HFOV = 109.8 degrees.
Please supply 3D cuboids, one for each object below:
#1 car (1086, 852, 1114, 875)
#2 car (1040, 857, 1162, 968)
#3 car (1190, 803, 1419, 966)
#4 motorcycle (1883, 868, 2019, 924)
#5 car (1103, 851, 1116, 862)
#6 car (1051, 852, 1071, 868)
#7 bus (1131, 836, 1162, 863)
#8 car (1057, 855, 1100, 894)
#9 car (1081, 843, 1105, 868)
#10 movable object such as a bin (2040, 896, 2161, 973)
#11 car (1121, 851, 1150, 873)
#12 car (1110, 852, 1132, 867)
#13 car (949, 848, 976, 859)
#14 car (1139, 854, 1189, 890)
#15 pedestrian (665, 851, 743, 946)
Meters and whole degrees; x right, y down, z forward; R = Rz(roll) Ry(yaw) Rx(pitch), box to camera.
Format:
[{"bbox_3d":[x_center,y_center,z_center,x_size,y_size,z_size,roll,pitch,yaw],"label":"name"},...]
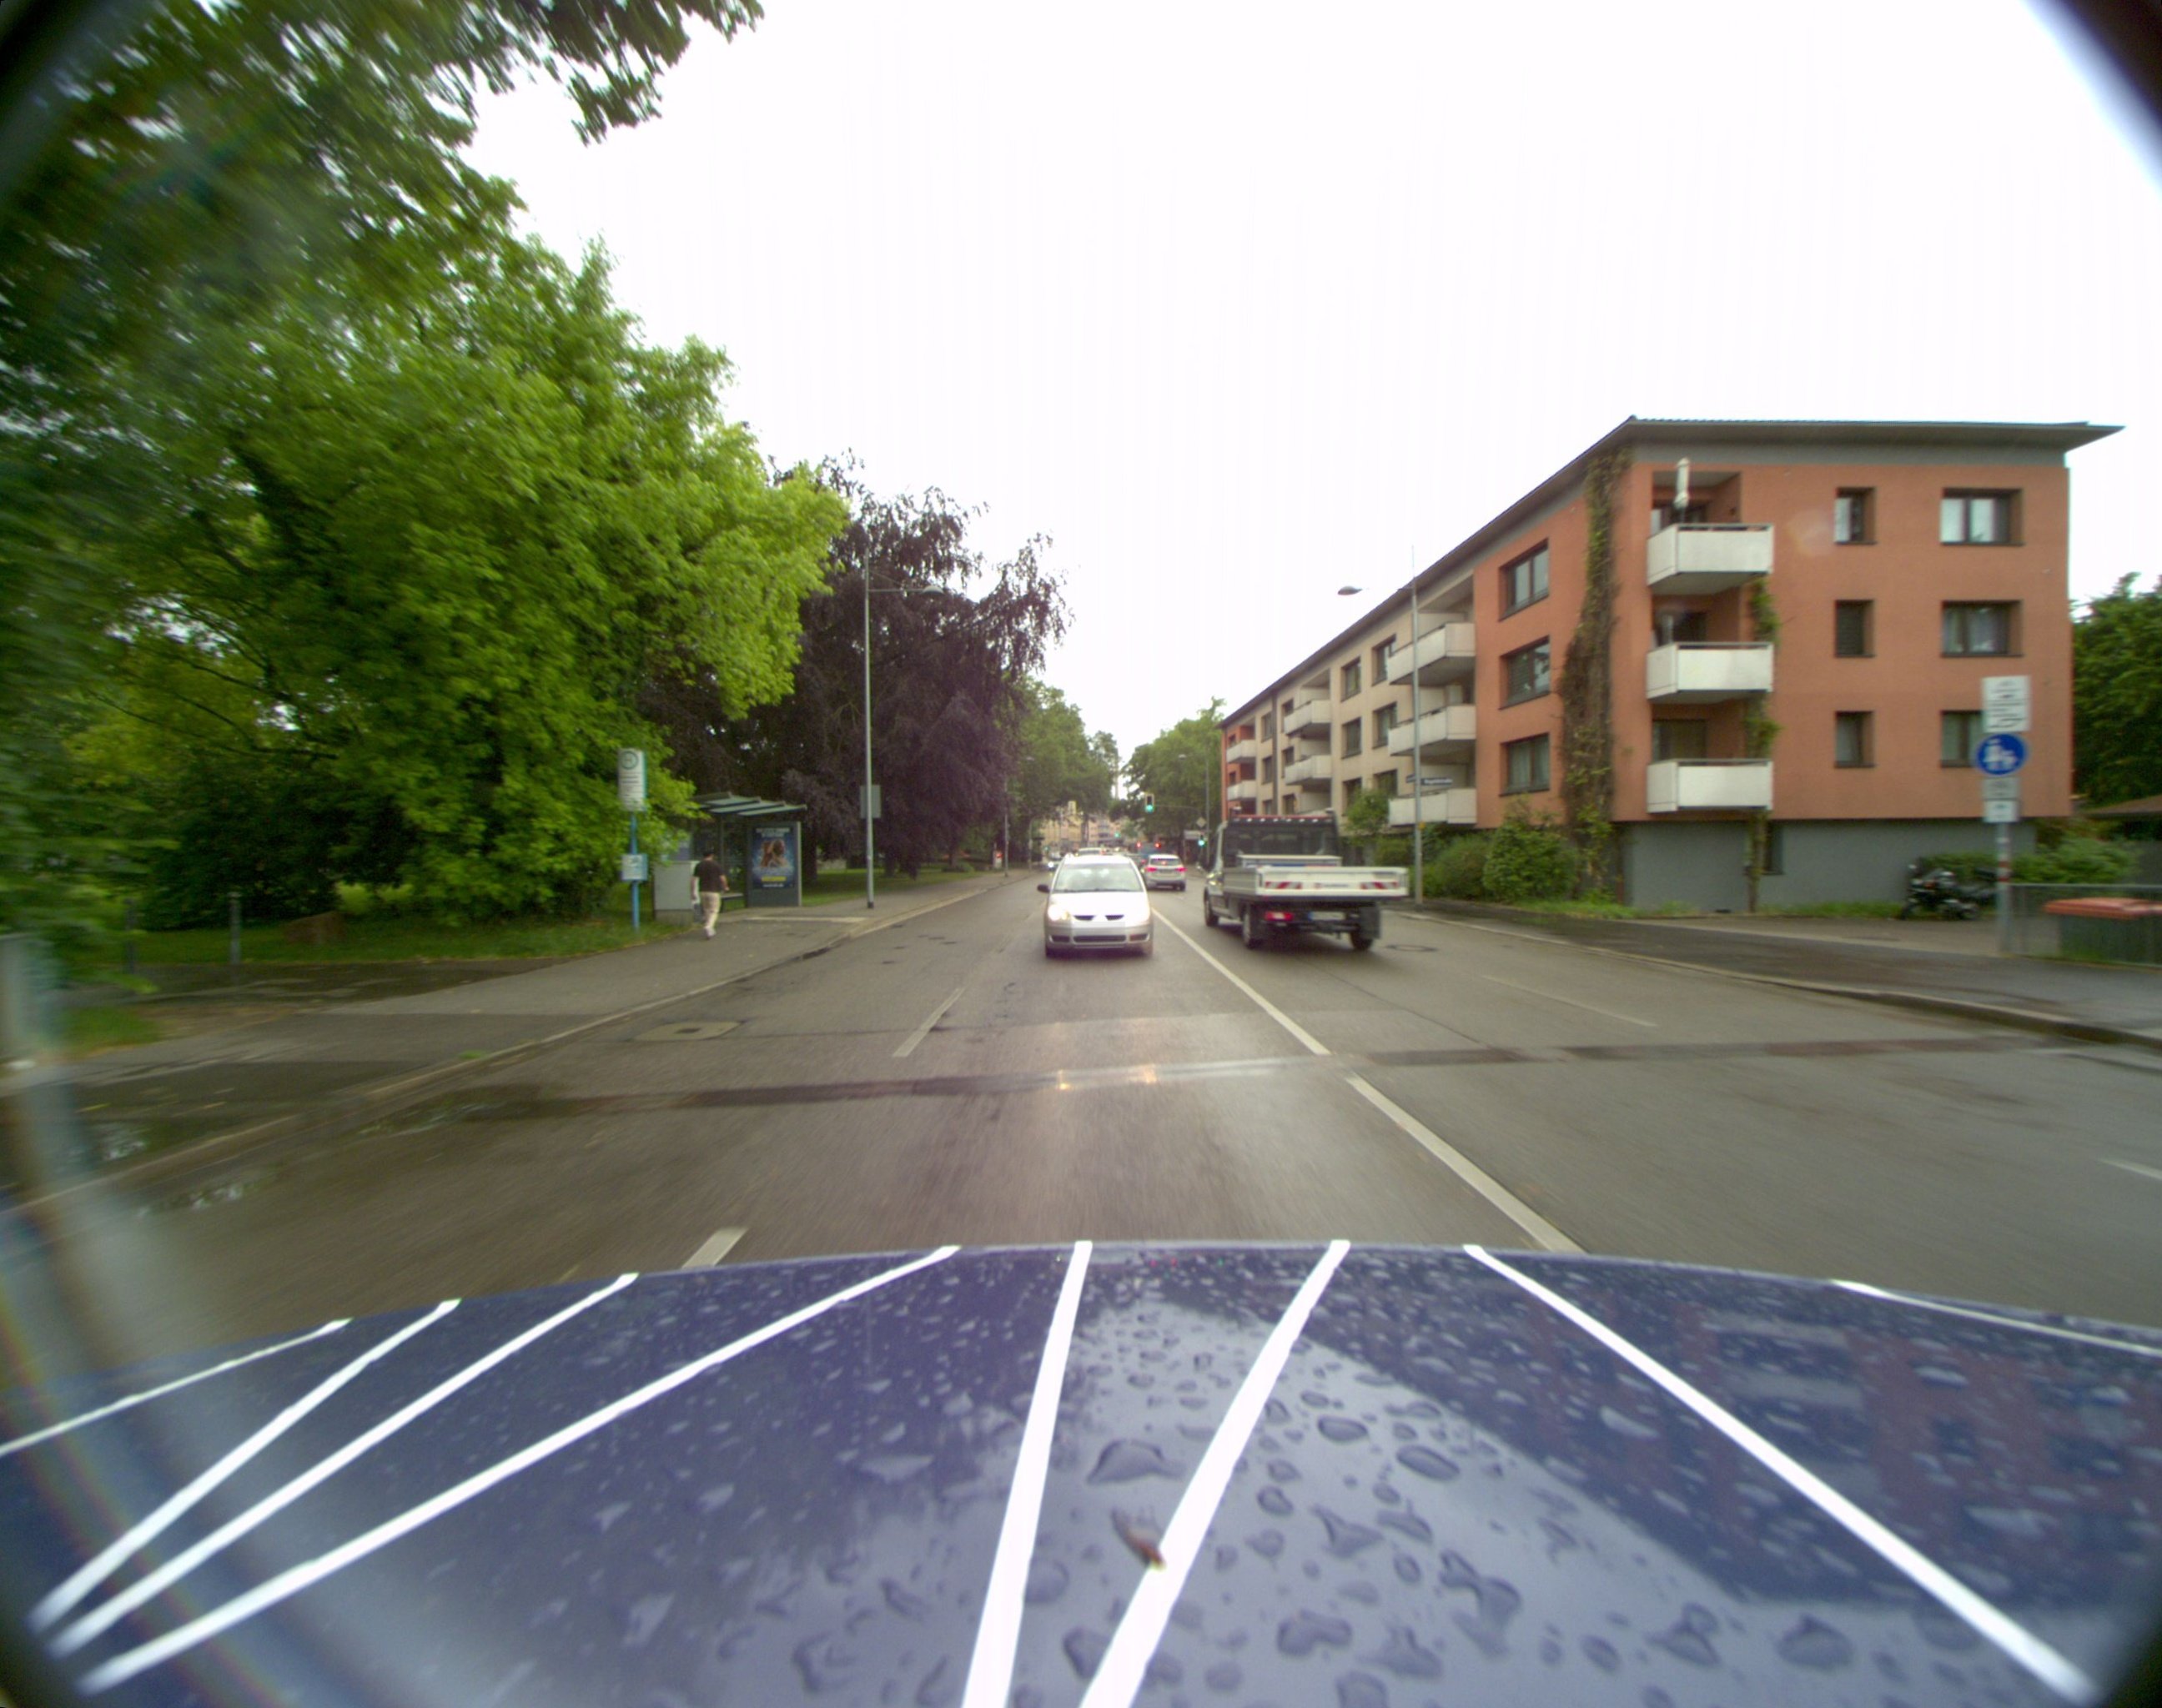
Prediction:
[{"bbox_3d":[1.260,0.601,50.941,1.800,1.449,4.491,0,1,1],"label":"car"},{"bbox_3d":[0.297,0.854,13.348,1.718,1.509,4.806,-1,0,0],"label":"car"},{"bbox_3d":[3.636,0.443,14.027,2.295,2.295,6.509,0,0,0],"label":"car"},{"bbox_3d":[20.114,0.964,17.584,2.400,1.256,0.781,0,0,-4],"label":"motorcycle"},{"bbox_3d":[4.119,0.385,110.487,1.691,1.483,3.889,1,0,0],"label":"car"},{"bbox_3d":[-2.118,0.622,80.742,1.906,1.538,3.999,-1,1,1],"label":"car"},{"bbox_3d":[7.672,-0.583,90.601,2.700,2.923,12.082,0,1,0],"label":"bus"},{"bbox_3d":[-0.097,0.829,32.928,1.718,1.509,4.088,-1,0,0],"label":"car"},{"bbox_3d":[1.065,0.070,67.399,2.037,2.119,3.999,-1,1,1],"label":"car"},{"bbox_3d":[13.172,1.004,9.624,0.968,0.872,0.832,0,1,0],"label":"movable object such as a bin"},{"bbox_3d":[4.104,0.602,58.045,1.818,1.569,4.231,0,0,-1],"label":"car"},{"bbox_3d":[3.898,0.531,74.350,1.818,1.407,4.048,0,0,-1],"label":"car"},{"bbox_3d":[-18.496,-0.109,118.541,3.998,1.706,1.999,0,1,-2],"label":"car"},{"bbox_3d":[3.610,0.761,33.712,1.786,1.465,4.166,0,0,0],"label":"car"},{"bbox_3d":[-6.978,0.788,14.107,0.850,1.666,1.167,1,1,0],"label":"pedestrian"}]
